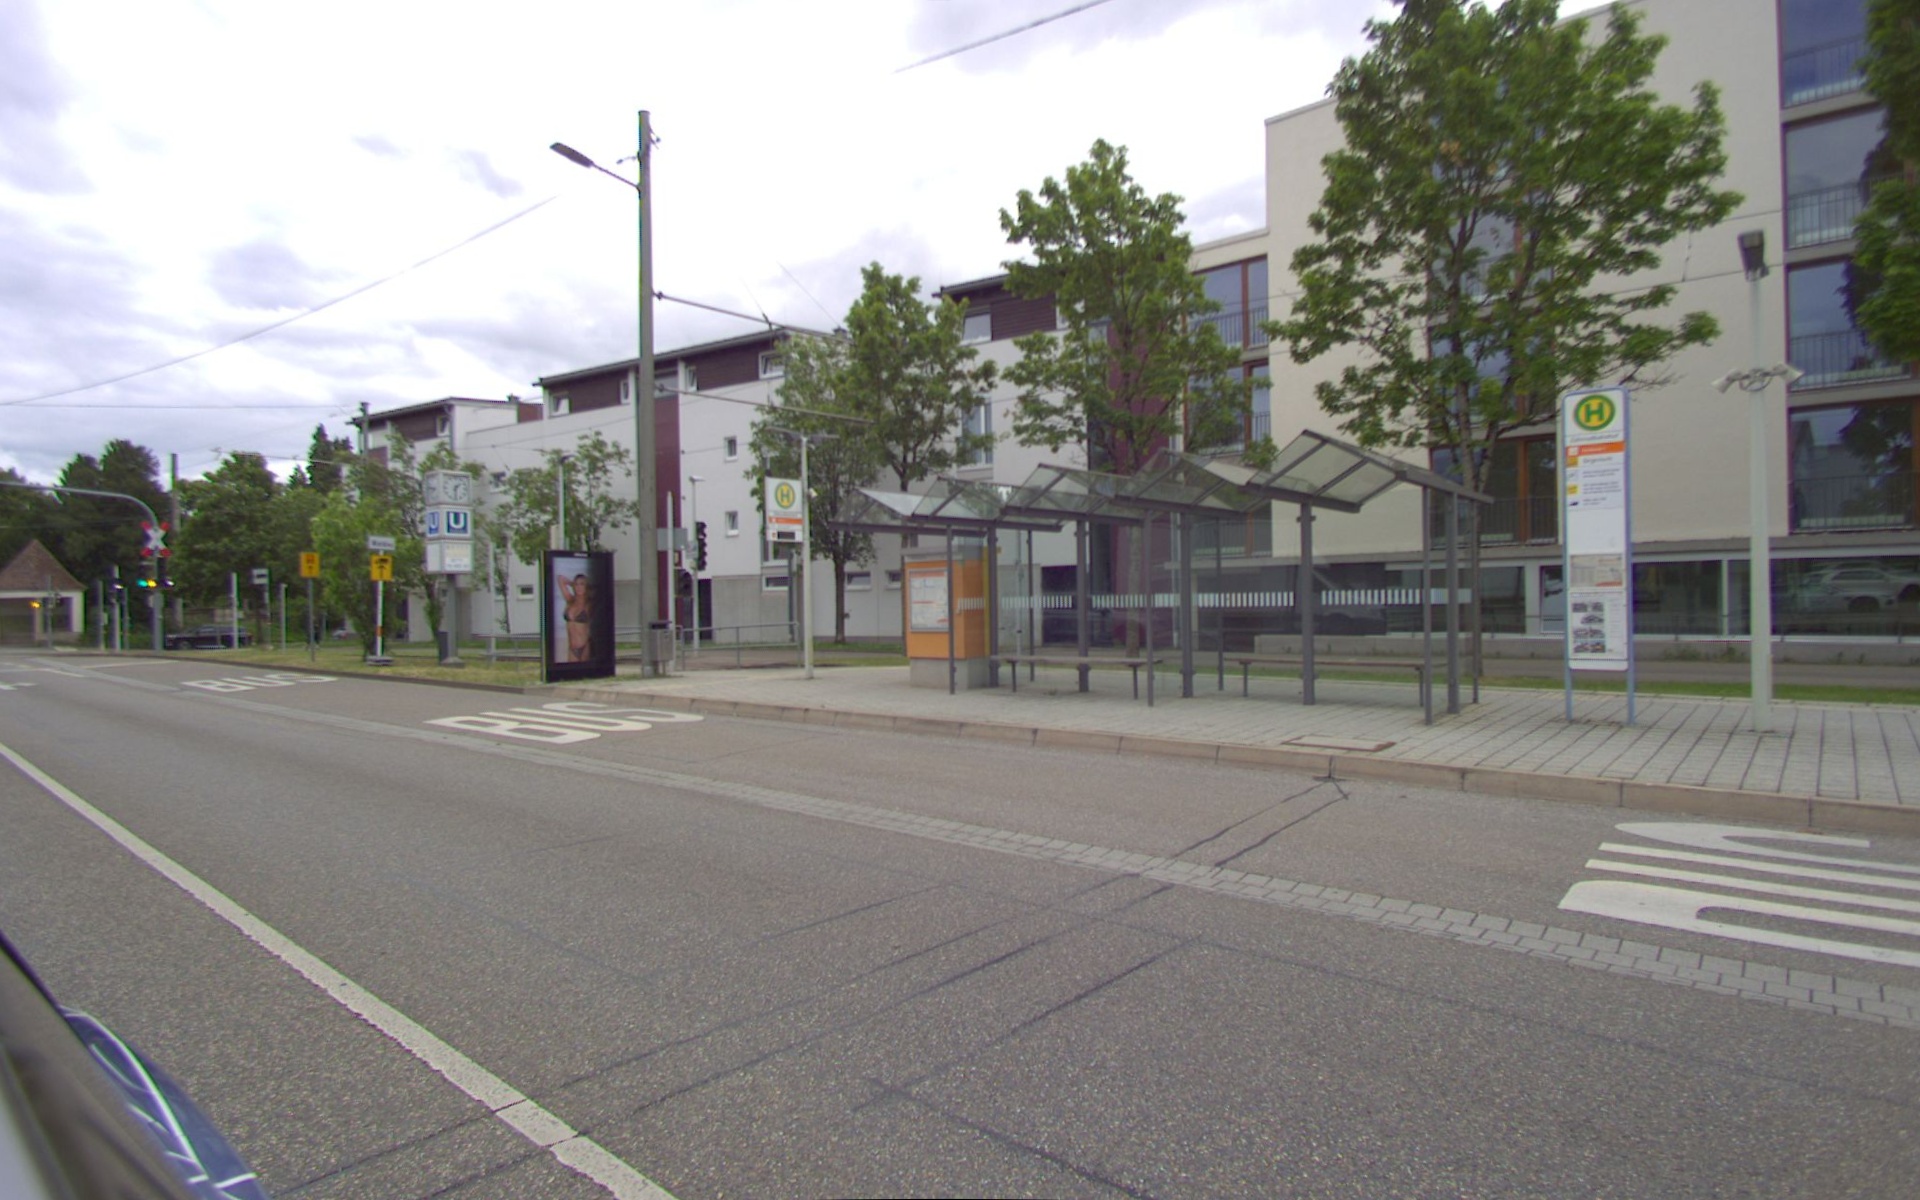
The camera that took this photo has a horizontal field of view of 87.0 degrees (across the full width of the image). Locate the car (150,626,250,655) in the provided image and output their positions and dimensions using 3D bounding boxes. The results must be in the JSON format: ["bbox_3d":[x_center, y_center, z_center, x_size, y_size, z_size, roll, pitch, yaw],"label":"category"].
[{"bbox_3d":[-46.160,2.499,61.570,1.960,1.682,4.438,-1,-3,33],"label":"car"}]

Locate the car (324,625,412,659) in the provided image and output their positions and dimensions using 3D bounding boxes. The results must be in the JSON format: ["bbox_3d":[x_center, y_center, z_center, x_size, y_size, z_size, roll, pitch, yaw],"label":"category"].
[{"bbox_3d":[-37.835,2.714,64.782,1.995,2.029,4.418,-1,-4,34],"label":"car"}]

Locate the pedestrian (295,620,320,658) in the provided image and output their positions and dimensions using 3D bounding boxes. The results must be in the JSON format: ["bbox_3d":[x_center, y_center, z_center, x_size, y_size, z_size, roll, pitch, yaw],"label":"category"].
[{"bbox_3d":[-28.497,1.703,44.210,0.817,1.657,0.669,-4,-3,35],"label":"pedestrian"}]
